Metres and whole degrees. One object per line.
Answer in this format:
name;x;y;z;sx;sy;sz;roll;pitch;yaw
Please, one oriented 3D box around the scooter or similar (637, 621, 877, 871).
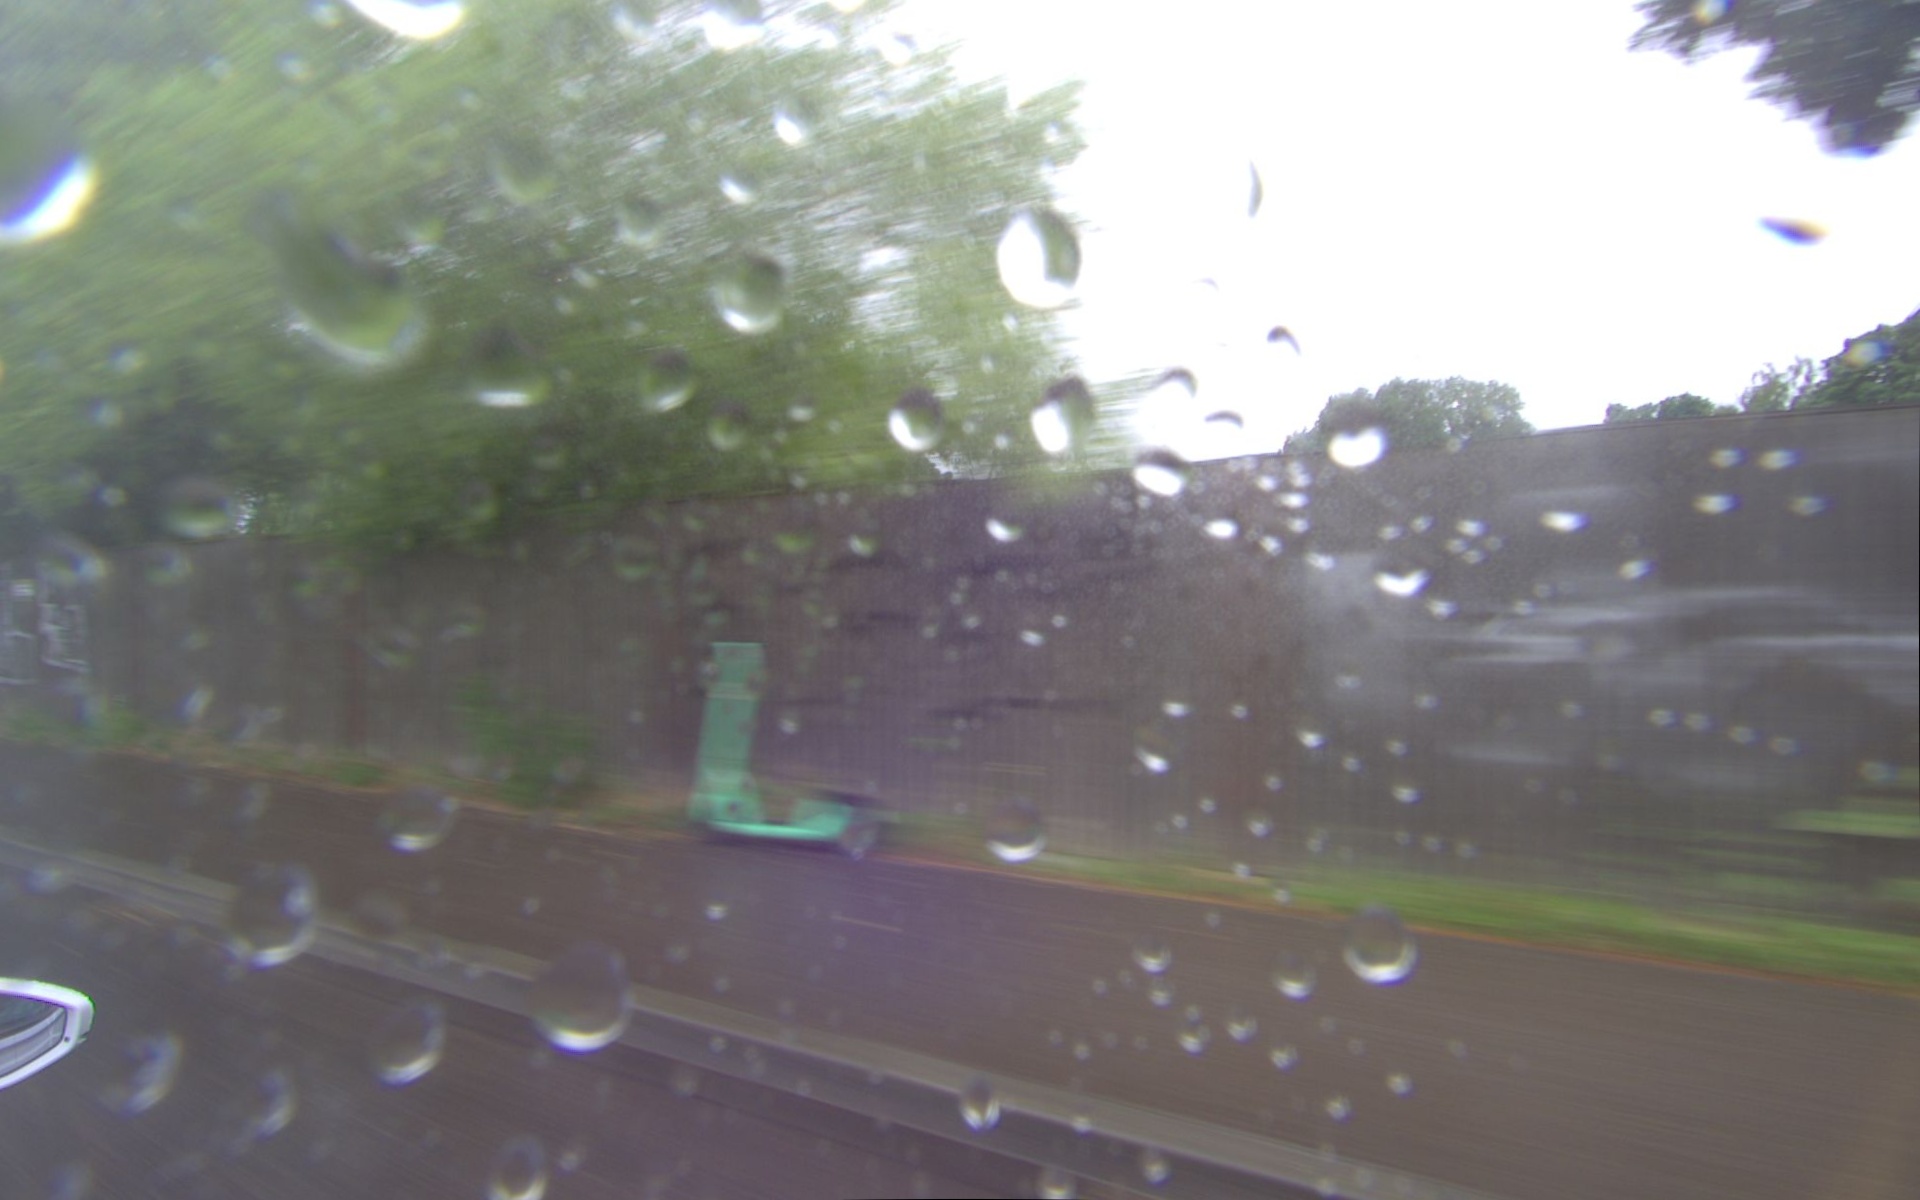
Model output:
scooter or similar;-1.158;0.753;5.639;1.350;1.251;0.490;0;1;31
